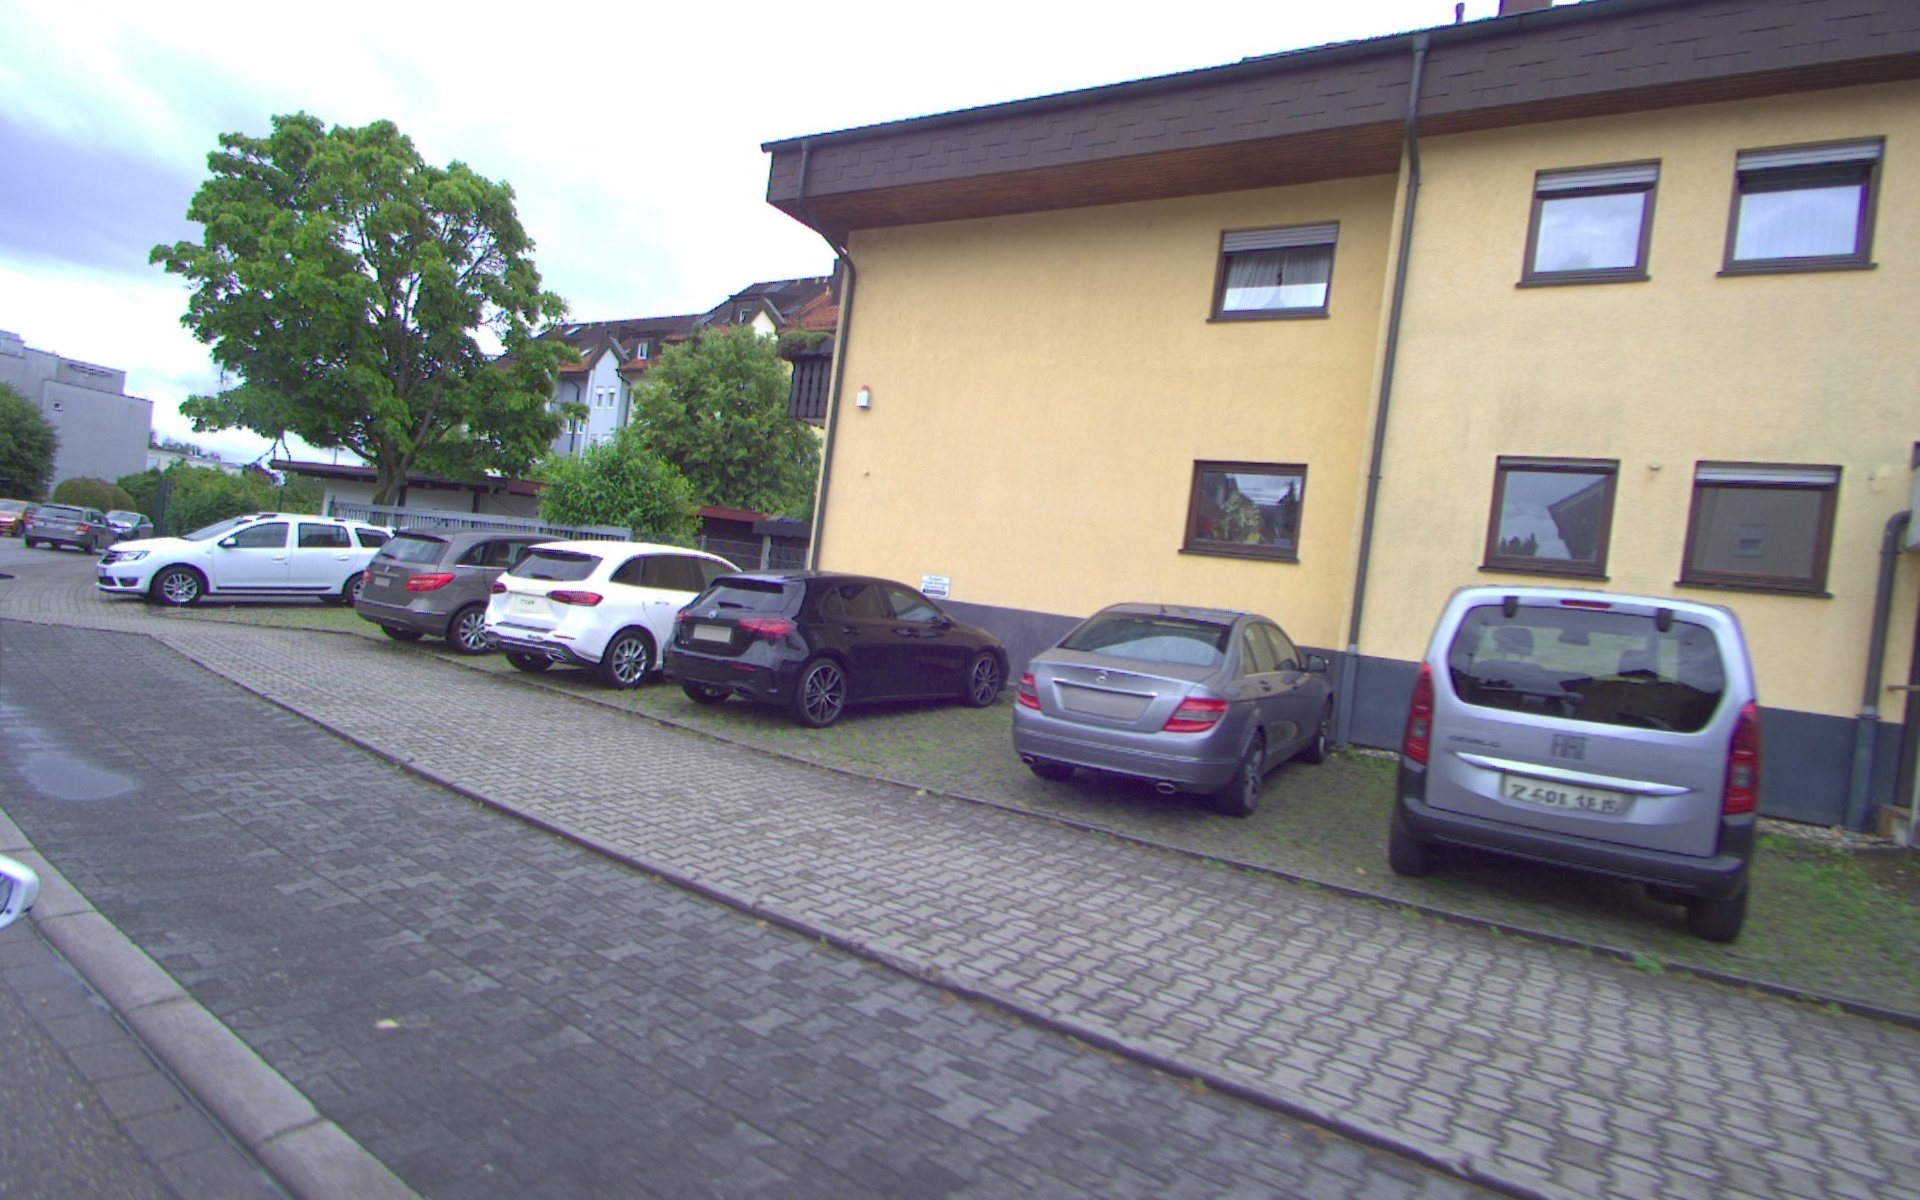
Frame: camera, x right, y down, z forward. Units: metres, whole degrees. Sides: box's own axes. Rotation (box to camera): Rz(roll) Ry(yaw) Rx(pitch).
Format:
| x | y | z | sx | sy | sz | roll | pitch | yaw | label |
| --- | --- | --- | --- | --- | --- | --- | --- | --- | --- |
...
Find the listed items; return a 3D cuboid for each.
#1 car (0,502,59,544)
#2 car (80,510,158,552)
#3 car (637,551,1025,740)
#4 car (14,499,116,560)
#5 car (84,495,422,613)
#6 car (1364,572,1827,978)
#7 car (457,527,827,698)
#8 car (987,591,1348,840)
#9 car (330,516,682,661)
| x | y | z | sx | sy | sz | roll | pitch | yaw | label |
| --- | --- | --- | --- | --- | --- | --- | --- | --- | --- |
| -37.467 | -3.087 | 39.519 | 1.884 | 1.457 | 4.090 | 7 | -1 | -26 | car |
| -41.270 | -3.351 | 49.478 | 1.884 | 1.677 | 4.090 | 7 | -1 | -26 | car |
| -1.182 | 0.403 | 10.860 | 1.874 | 1.510 | 4.041 | 6 | 3 | 34 | car |
| -28.954 | -2.211 | 32.676 | 1.754 | 1.527 | 3.968 | 8 | -3 | -33 | car |
| -11.719 | -0.703 | 16.937 | 1.740 | 1.618 | 4.332 | 7 | 3 | 38 | car |
| 4.253 | 0.848 | 7.105 | 1.873 | 1.805 | 4.294 | 6 | 3 | 30 | car |
| -3.646 | 0.114 | 12.266 | 1.864 | 1.618 | 4.045 | 6 | 3 | 30 | car |
| 2.045 | 0.753 | 8.670 | 1.667 | 1.443 | 4.361 | 6 | 3 | 30 | car |
| -6.082 | -0.146 | 13.935 | 1.873 | 1.618 | 4.043 | 6 | 3 | 32 | car |
